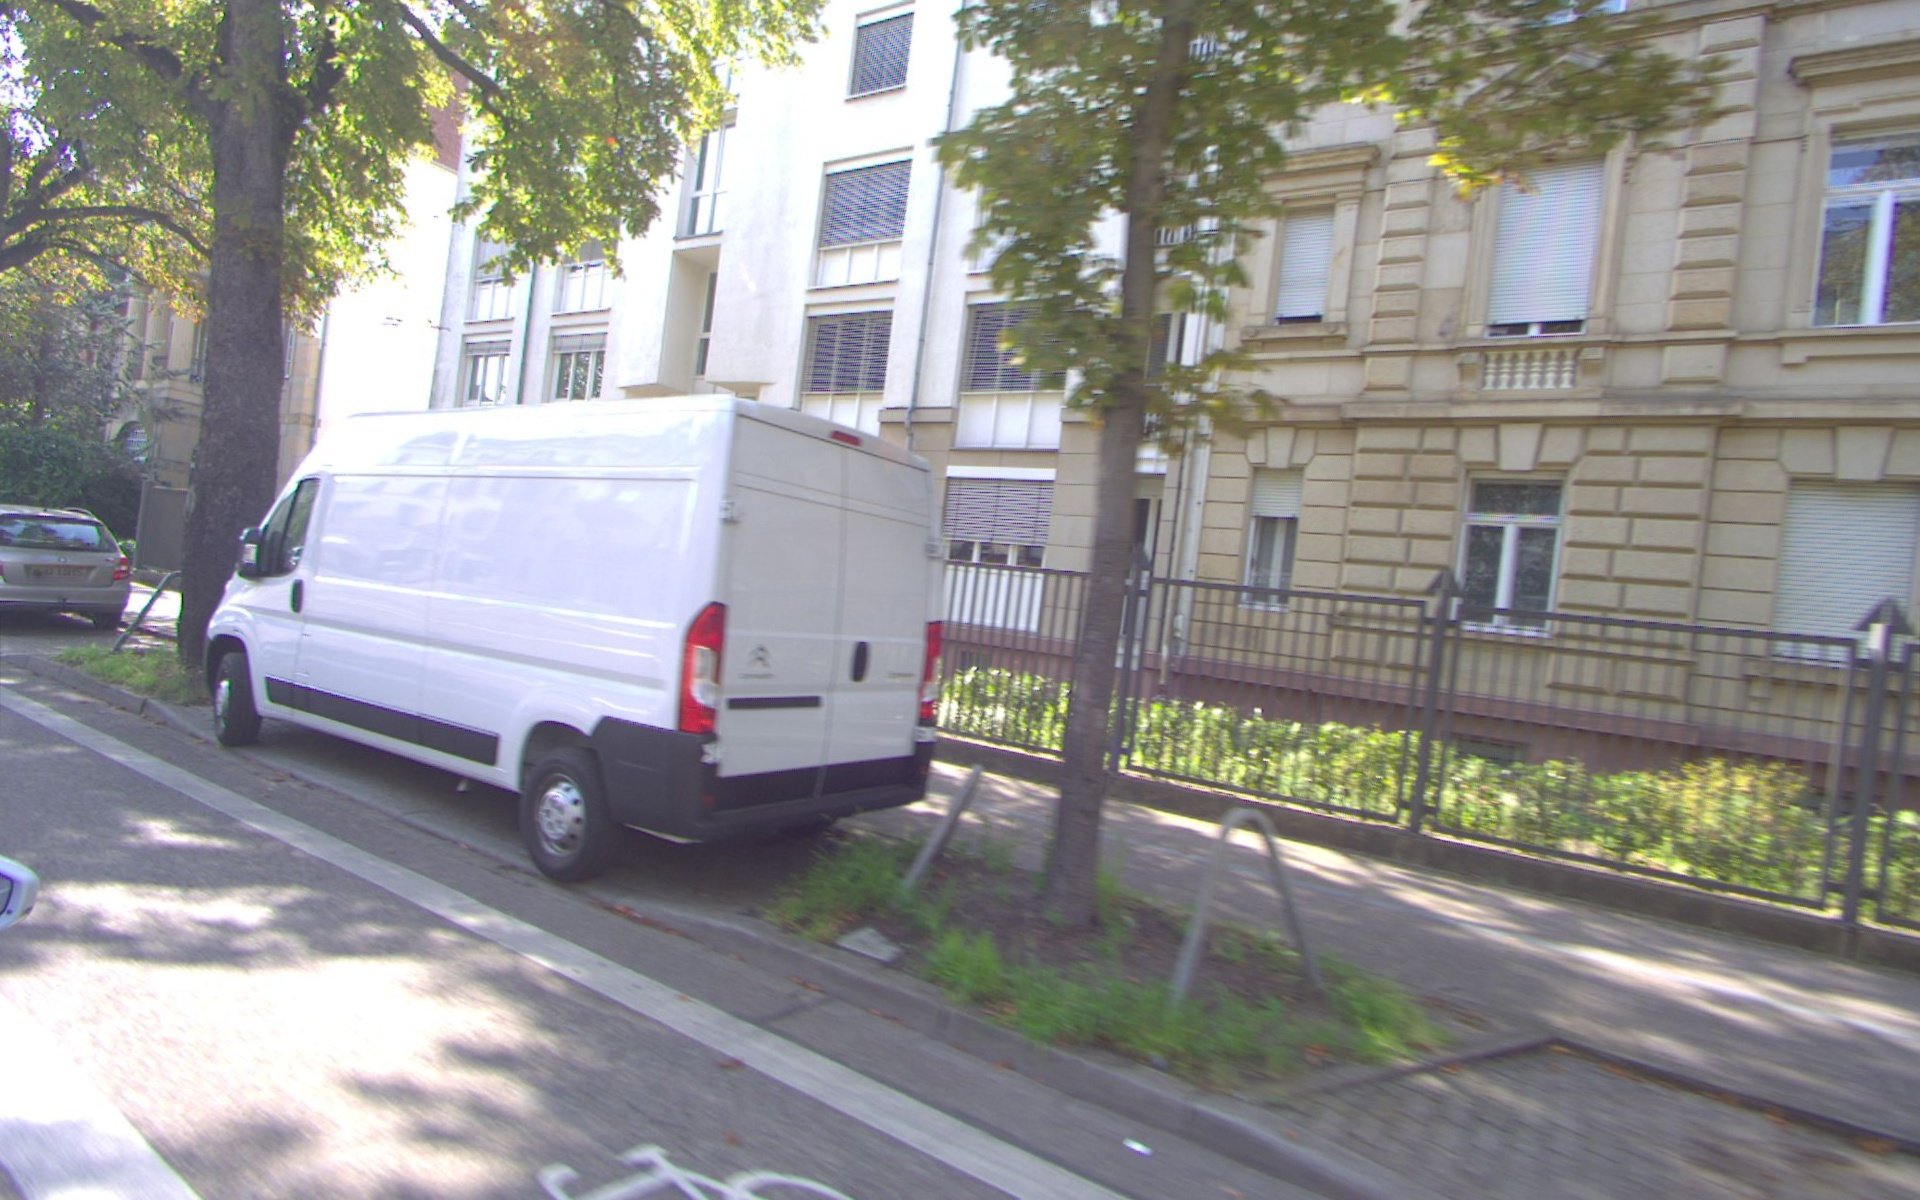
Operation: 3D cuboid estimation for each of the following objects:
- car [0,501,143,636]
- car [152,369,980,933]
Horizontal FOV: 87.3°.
[{"bbox_3d":[-12.734,-0.519,13.412,4.287,1.544,1.606,6,2,33],"label":"car"},{"bbox_3d":[-3.101,0.021,7.030,6.128,2.529,2.047,6,0,33],"label":"car"}]
